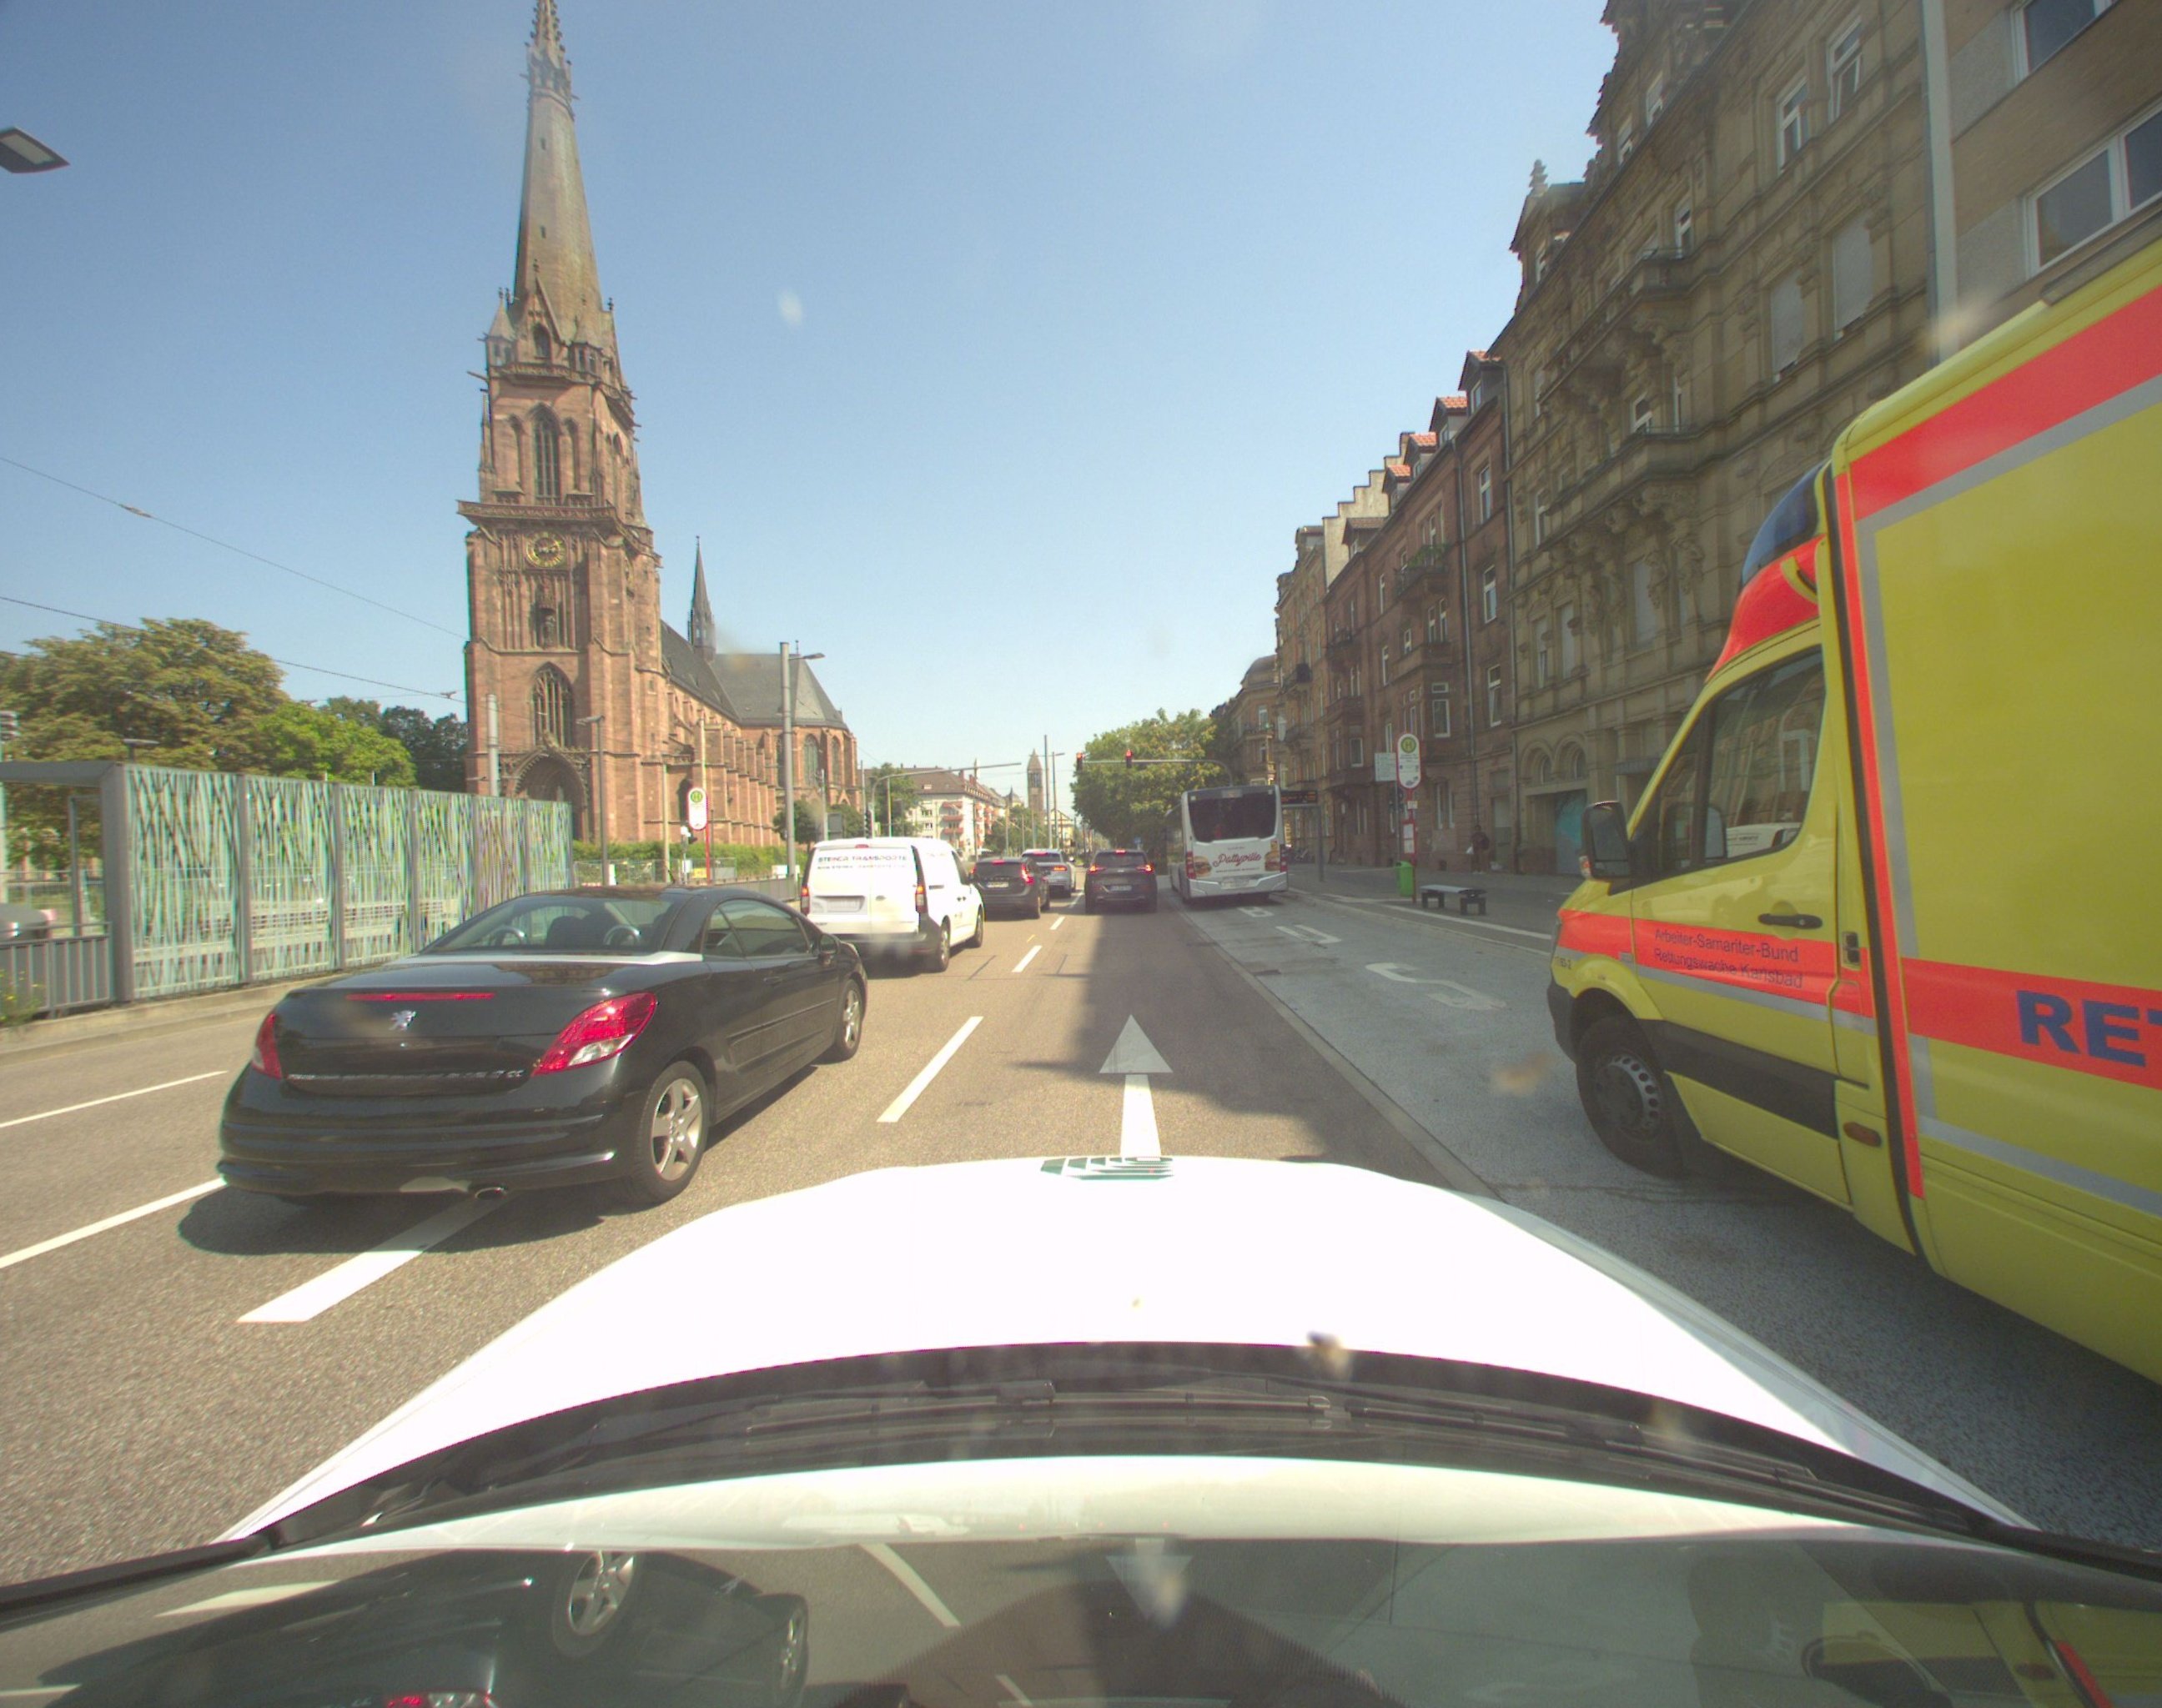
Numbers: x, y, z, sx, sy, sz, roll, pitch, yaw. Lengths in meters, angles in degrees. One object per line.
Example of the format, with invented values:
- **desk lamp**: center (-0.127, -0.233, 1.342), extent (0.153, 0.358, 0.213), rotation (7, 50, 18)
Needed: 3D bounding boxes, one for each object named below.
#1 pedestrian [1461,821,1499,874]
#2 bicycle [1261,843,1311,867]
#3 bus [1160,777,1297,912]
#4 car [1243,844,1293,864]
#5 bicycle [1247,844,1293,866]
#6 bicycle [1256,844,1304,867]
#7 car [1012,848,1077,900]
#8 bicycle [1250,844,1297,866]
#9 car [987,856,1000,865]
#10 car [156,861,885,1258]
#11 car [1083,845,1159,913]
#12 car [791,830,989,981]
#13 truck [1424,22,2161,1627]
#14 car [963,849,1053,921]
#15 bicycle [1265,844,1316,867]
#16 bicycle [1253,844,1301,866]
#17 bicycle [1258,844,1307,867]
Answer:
- **pedestrian**: center (13.867, -0.221, 28.311), extent (0.872, 1.778, 0.737), rotation (-2, 0, -26)
- **bicycle**: center (13.214, 0.075, 52.507), extent (2.983, 1.371, 0.871), rotation (-3, 0, 1)
- **bus**: center (4.196, -0.248, 25.968), extent (2.731, 3.106, 11.967), rotation (-5, 0, 4)
- **car**: center (16.299, -0.024, 71.019), extent (3.926, 1.521, 1.679), rotation (-2, 0, -6)
- **bicycle**: center (13.288, 0.065, 57.418), extent (2.993, 1.373, 0.948), rotation (-2, 0, 1)
- **bicycle**: center (13.261, 0.084, 54.368), extent (2.983, 1.371, 0.871), rotation (-3, 0, 1)
- **car**: center (-1.191, 0.629, 28.445), extent (1.895, 1.651, 4.310), rotation (-1, 0, 2)
- **bicycle**: center (13.340, 0.061, 56.406), extent (2.993, 1.373, 0.948), rotation (-2, 0, 1)
- **car**: center (-16.233, 1.153, 151.059), extent (1.739, 1.435, 4.576), rotation (-4, 0, 2)
- **car**: center (-2.555, 0.787, 4.936), extent (1.682, 1.413, 3.803), rotation (-1, 0, 2)
- **car**: center (1.100, 0.598, 21.986), extent (1.825, 1.651, 4.312), rotation (-1, 0, 3)
- **car**: center (-2.597, 0.627, 12.148), extent (1.740, 1.820, 4.242), rotation (-1, 0, 3)
- **truck**: center (3.054, -0.057, 1.729), extent (2.317, 2.770, 6.348), rotation (-4, 0, 5)
- **car**: center (-1.733, 0.702, 20.643), extent (1.741, 1.614, 4.310), rotation (-1, 0, 2)
- **bicycle**: center (13.278, 0.090, 51.599), extent (2.983, 1.371, 0.871), rotation (-3, 0, 1)
- **bicycle**: center (13.291, 0.059, 55.312), extent (2.993, 1.373, 0.948), rotation (-2, 0, 1)
- **bicycle**: center (13.205, 0.073, 53.421), extent (2.983, 1.371, 0.871), rotation (-3, 0, 1)
